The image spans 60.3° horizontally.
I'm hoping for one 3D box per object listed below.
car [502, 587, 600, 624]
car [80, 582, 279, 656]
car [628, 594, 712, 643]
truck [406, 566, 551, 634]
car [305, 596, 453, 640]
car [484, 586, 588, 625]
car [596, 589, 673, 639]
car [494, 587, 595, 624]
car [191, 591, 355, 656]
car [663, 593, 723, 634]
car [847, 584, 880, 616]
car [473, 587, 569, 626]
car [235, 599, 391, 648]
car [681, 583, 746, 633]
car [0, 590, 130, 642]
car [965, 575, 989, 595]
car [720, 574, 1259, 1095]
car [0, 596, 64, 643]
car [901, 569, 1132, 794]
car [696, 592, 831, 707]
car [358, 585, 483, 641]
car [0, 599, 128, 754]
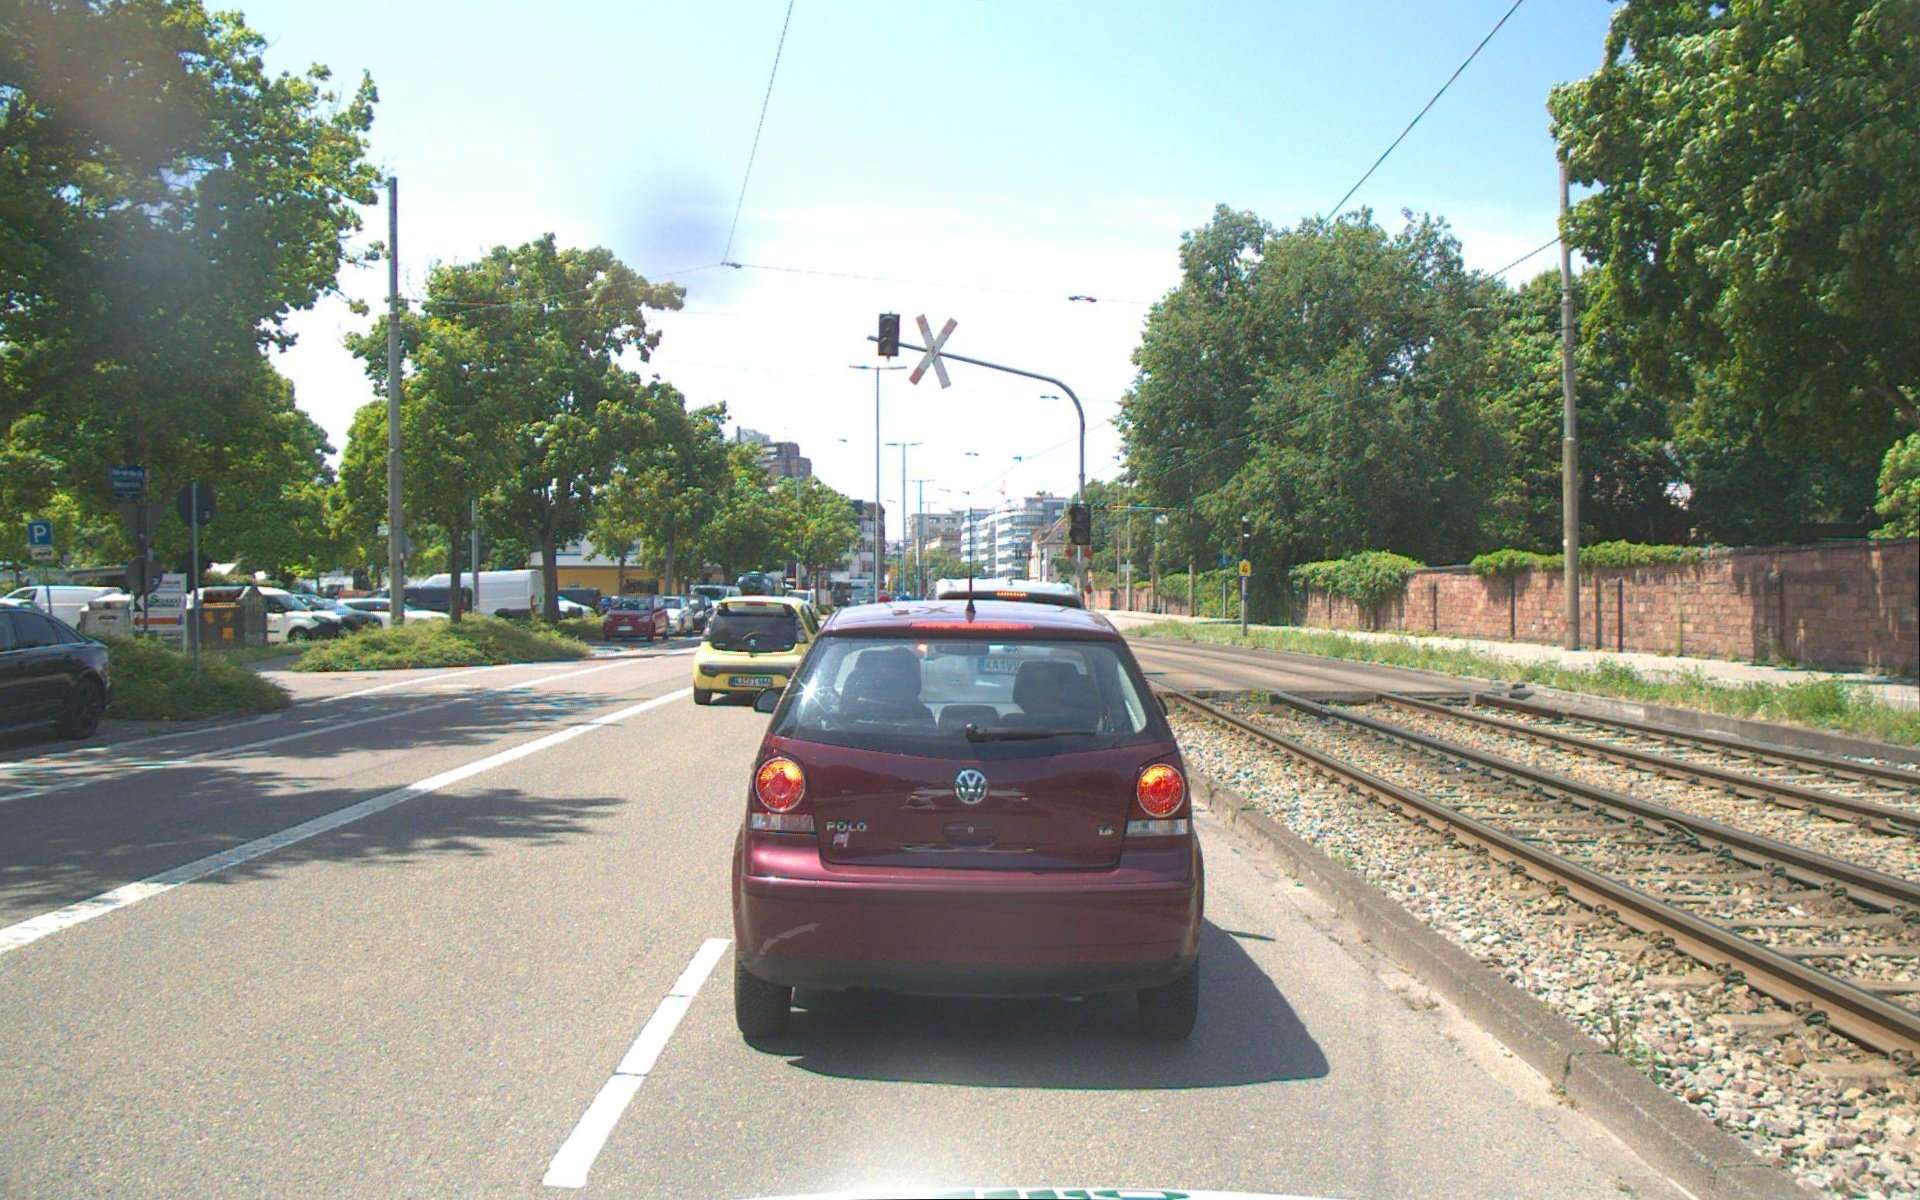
[{"bbox_3d":[-21.228,0.277,85.922,4.623,1.845,1.796,-1,0,-2],"label":"car"},{"bbox_3d":[-20.908,0.482,44.466,4.361,1.889,2.059,-1,0,-6],"label":"car"},{"bbox_3d":[-10.600,0.644,60.838,1.683,1.451,4.774,-7,1,5],"label":"car"},{"bbox_3d":[-20.557,-0.009,70.846,5.463,2.808,2.432,-1,0,0],"label":"truck"},{"bbox_3d":[-21.101,0.636,60.223,4.665,1.514,2.057,-1,0,-2],"label":"car"},{"bbox_3d":[-20.883,0.273,81.572,4.623,1.845,1.796,-1,0,-2],"label":"car"},{"bbox_3d":[-10.604,0.450,54.093,1.637,1.573,3.727,1,0,2],"label":"car"},{"bbox_3d":[-21.019,0.274,83.798,4.623,1.845,1.796,-1,0,-2],"label":"car"},{"bbox_3d":[-20.401,0.674,49.222,4.178,1.867,1.673,-1,0,1],"label":"car"},{"bbox_3d":[-10.590,0.519,65.822,1.581,1.510,3.785,3,0,2],"label":"car"},{"bbox_3d":[-6.167,-0.027,105.692,1.879,1.944,4.570,-1,0,-1],"label":"car"},{"bbox_3d":[-20.978,0.304,79.154,4.125,1.796,1.856,-1,0,-2],"label":"car"},{"bbox_3d":[-20.342,0.724,52.166,4.113,1.428,2.079,-1,0,-5],"label":"car"},{"bbox_3d":[-10.553,0.330,71.093,1.824,1.971,4.806,3,0,2],"label":"car"},{"bbox_3d":[-32.862,0.564,60.400,4.044,1.852,1.970,0,0,-1],"label":"car"},{"bbox_3d":[1.653,-1.525,164.101,1.881,1.944,4.566,-1,0,-5],"label":"car"},{"bbox_3d":[0.063,0.686,6.905,1.577,1.524,3.999,1,0,-1],"label":"car"},{"bbox_3d":[-33.710,0.655,57.944,3.670,1.603,1.732,0,0,-1],"label":"car"},{"bbox_3d":[0.409,0.622,14.790,1.759,1.712,3.999,1,0,-1],"label":"car"},{"bbox_3d":[-2.690,0.636,23.221,1.520,1.473,3.411,1,0,-1],"label":"car"},{"bbox_3d":[-20.478,0.476,62.920,4.125,2.030,1.856,-1,0,-2],"label":"car"},{"bbox_3d":[-10.347,0.751,16.492,1.856,1.482,4.807,1,0,-3],"label":"car"}]
